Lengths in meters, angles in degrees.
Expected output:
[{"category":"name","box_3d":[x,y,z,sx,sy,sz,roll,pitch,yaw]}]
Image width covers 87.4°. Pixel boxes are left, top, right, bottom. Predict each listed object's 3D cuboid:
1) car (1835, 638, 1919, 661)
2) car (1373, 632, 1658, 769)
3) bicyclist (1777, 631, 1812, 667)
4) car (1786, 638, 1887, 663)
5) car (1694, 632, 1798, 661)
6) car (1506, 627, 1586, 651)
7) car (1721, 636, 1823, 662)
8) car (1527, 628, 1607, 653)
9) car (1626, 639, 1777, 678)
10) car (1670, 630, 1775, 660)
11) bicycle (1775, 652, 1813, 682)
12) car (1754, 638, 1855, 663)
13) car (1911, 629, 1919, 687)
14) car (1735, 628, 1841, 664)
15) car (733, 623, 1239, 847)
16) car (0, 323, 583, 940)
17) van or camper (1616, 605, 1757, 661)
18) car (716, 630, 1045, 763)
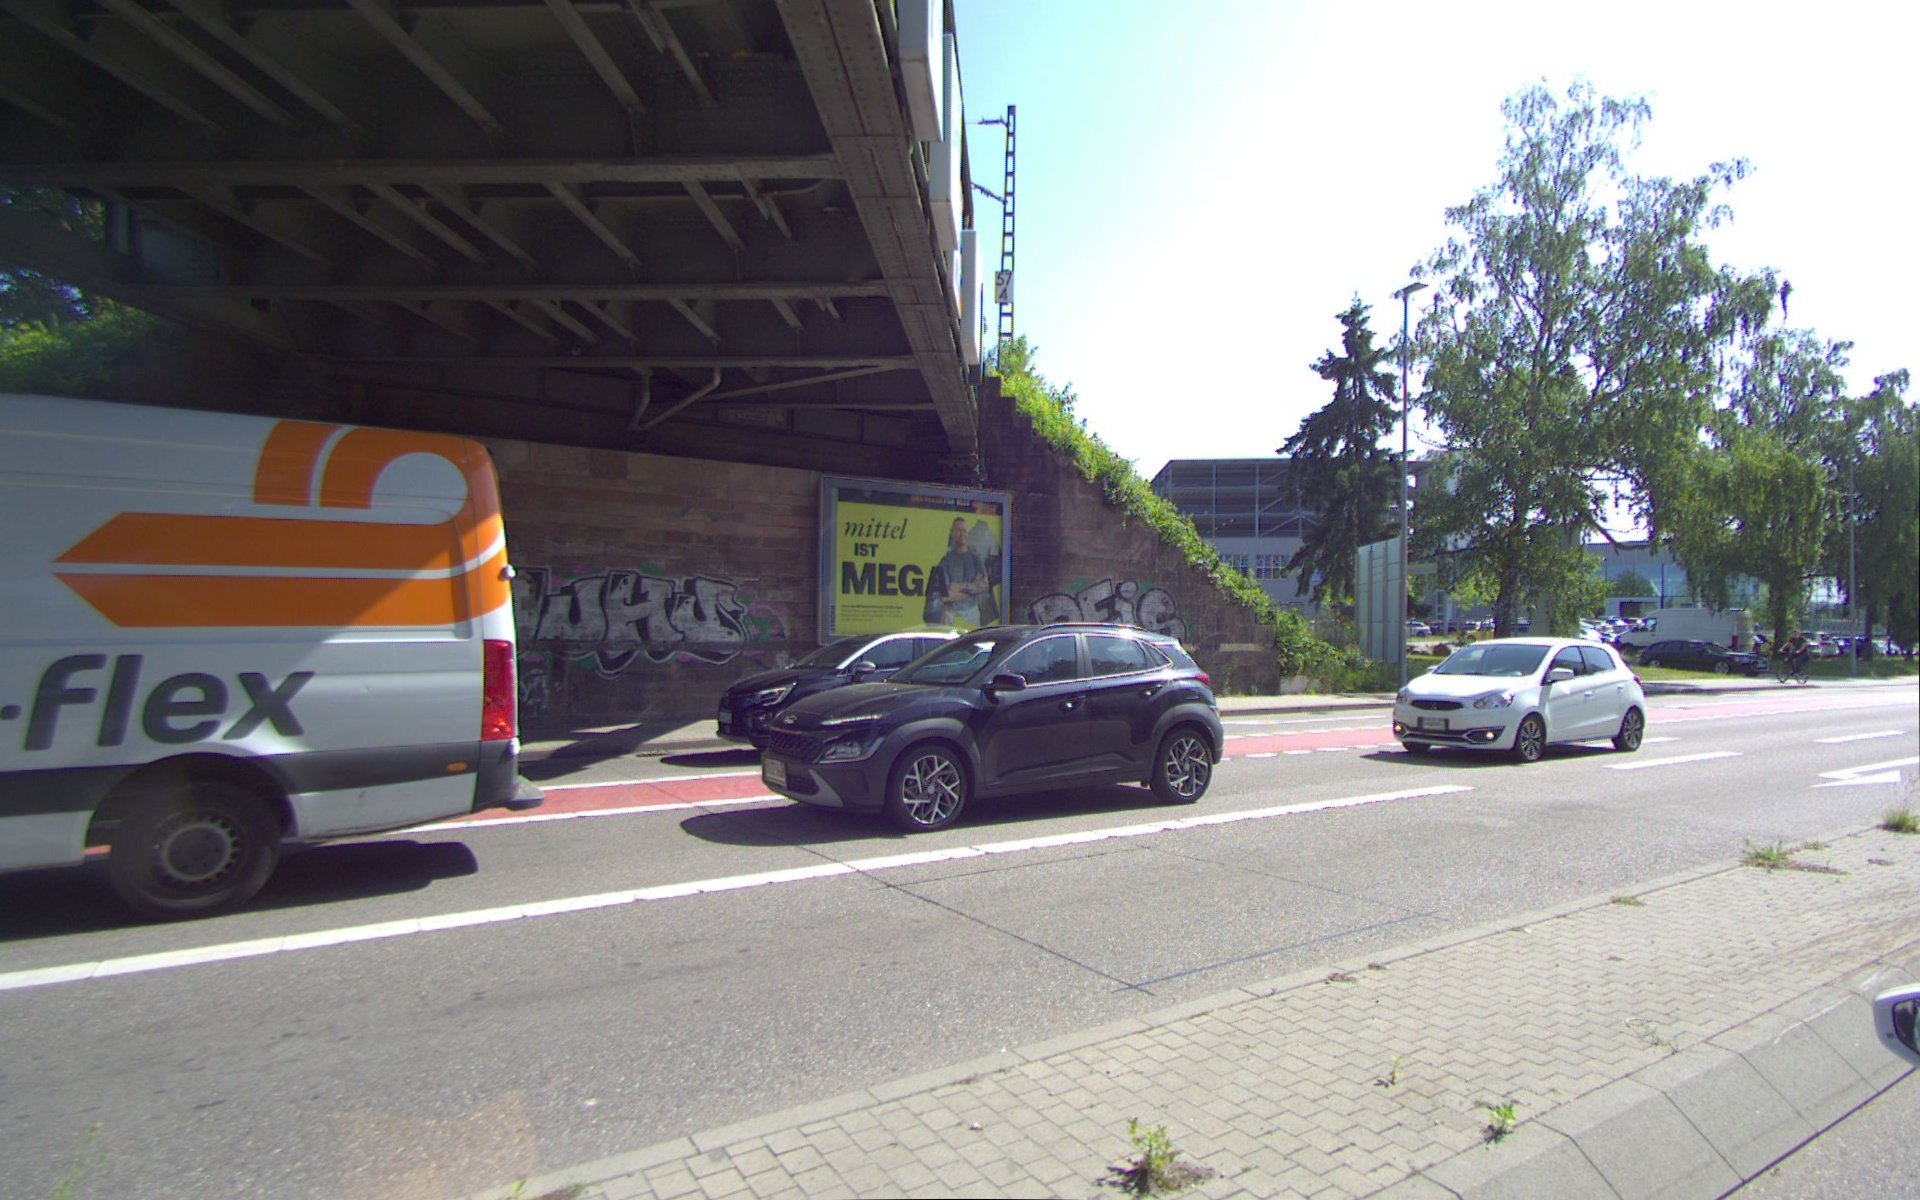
[{"category":"car","box_3d":[61.783,3.309,67.409,1.930,1.368,4.248,2,-2,-29]},{"category":"car","box_3d":[7.291,1.198,13.111,3.787,1.514,1.634,0,-2,-33]},{"category":"bicyclist","box_3d":[29.193,1.719,35.135,0.938,1.244,0.631,1,-2,-27]},{"category":"car","box_3d":[53.468,3.067,61.360,1.930,1.399,4.248,2,-2,-29]},{"category":"car","box_3d":[42.123,2.485,53.931,1.720,1.372,4.074,3,-2,-25]},{"category":"car","box_3d":[36.596,2.422,62.848,1.720,1.372,4.074,2,-2,-25]},{"category":"car","box_3d":[44.607,2.685,55.275,1.722,1.310,4.070,2,-2,-29]},{"category":"car","box_3d":[39.000,2.590,64.617,1.723,1.457,4.067,2,-1,-30]},{"category":"car","box_3d":[30.443,2.361,41.405,1.972,1.432,4.654,2,-2,-24]},{"category":"car","box_3d":[40.143,2.363,52.976,1.720,1.457,4.074,2,-1,-25]},{"category":"bicycle","box_3d":[29.214,2.340,35.168,1.595,1.041,0.444,1,-2,-27]},{"category":"car","box_3d":[50.719,3.022,60.422,1.930,1.346,4.248,2,-2,-29]},{"category":"car","box_3d":[36.186,2.078,35.601,5.278,2.040,1.986,1,-2,-27]},{"category":"car","box_3d":[46.673,2.587,56.696,1.930,1.909,4.248,2,-1,-29]},{"category":"car","box_3d":[0.303,0.987,8.747,4.130,1.514,1.760,0,-2,-31]},{"category":"car","box_3d":[-5.677,0.158,4.990,6.864,2.841,1.982,2,-3,-34]},{"category":"van or camper","box_3d":[36.579,1.572,50.742,1.979,2.504,5.346,0,1,-33]},{"category":"car","box_3d":[-1.028,1.200,13.663,4.130,1.514,1.760,0,-2,-31]}]
